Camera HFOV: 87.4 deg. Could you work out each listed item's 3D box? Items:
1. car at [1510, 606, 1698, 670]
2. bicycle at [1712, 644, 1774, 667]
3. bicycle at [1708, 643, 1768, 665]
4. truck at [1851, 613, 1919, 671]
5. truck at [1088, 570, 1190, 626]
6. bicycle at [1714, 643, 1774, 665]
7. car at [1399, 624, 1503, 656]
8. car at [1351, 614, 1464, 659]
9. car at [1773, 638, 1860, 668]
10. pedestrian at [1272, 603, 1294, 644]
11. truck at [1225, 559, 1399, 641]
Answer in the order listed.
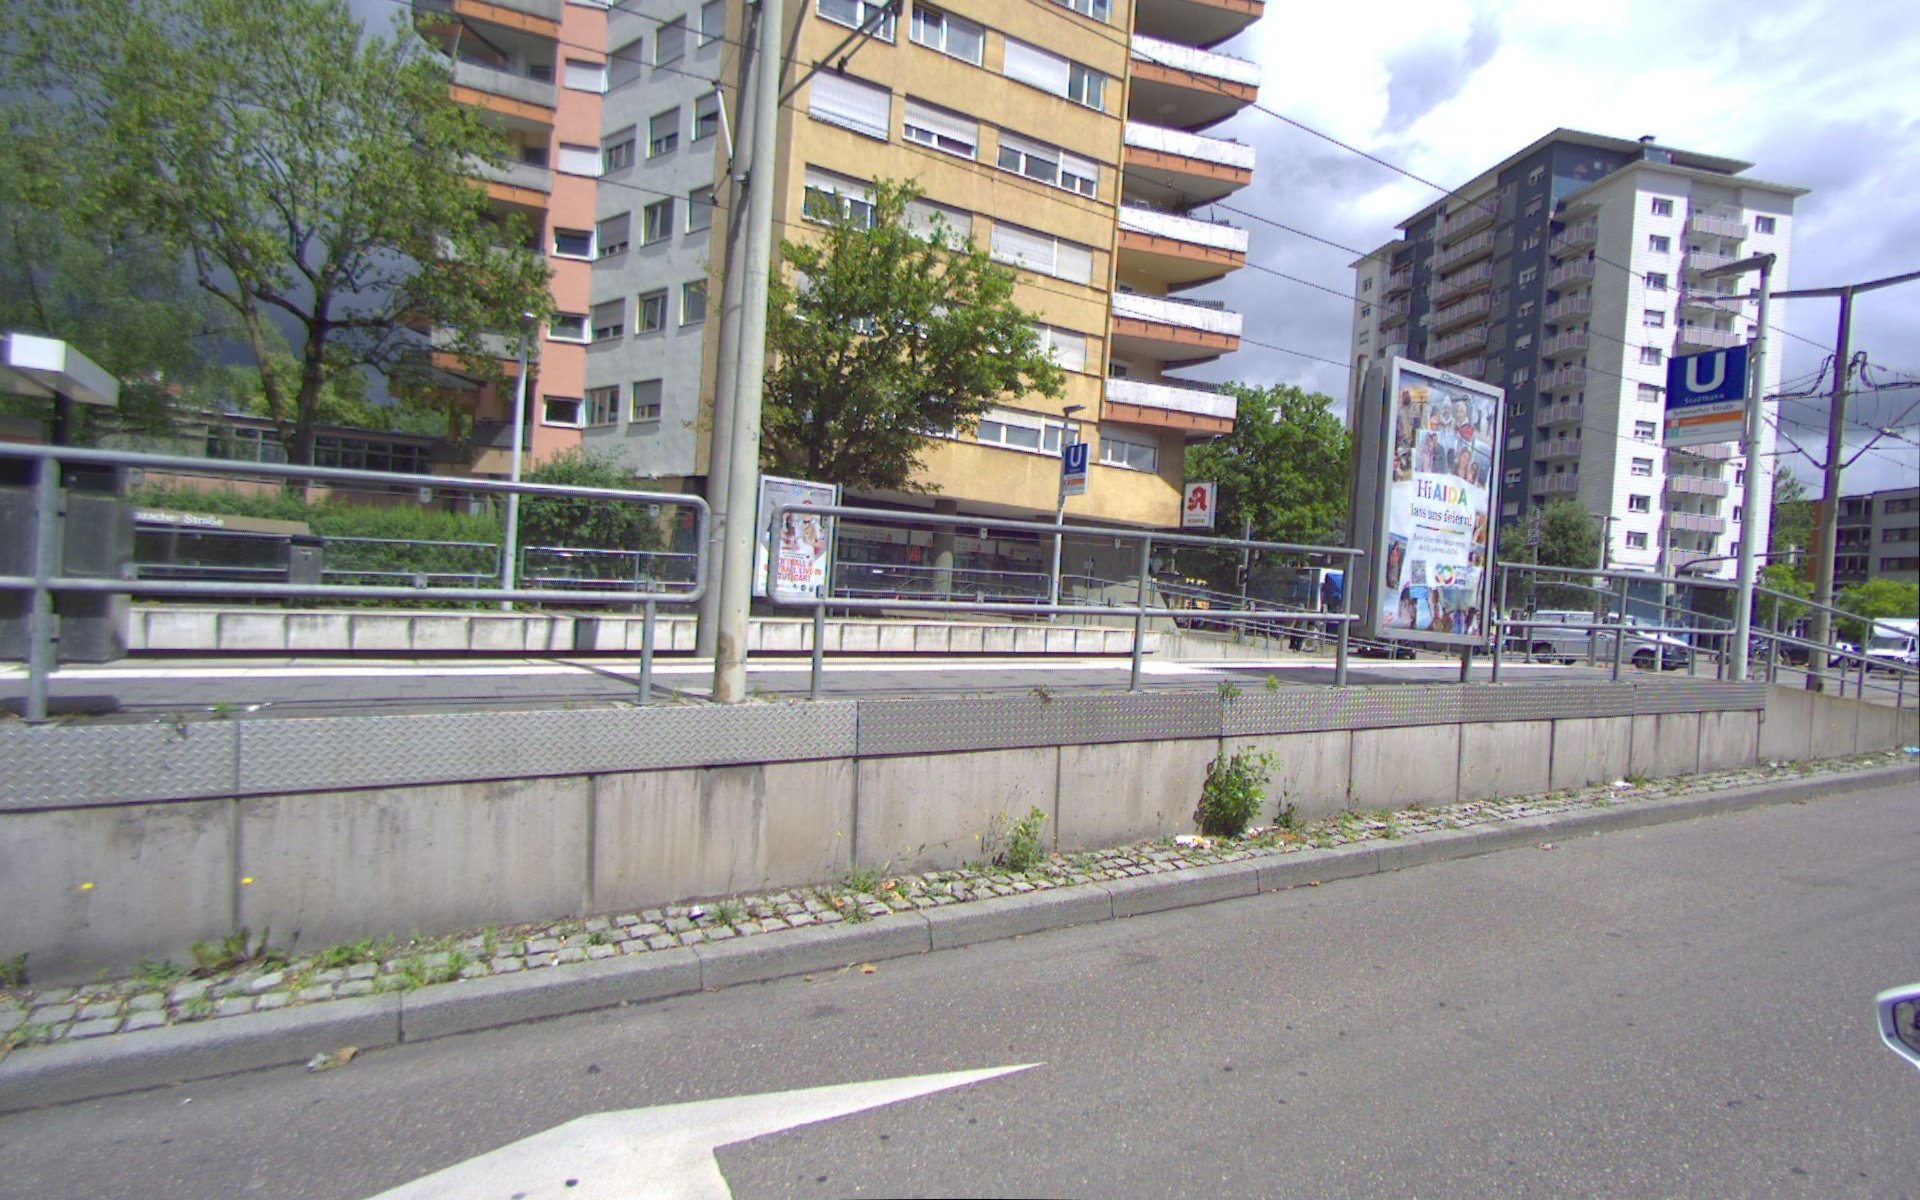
[{"bbox_3d":[22.288,1.272,34.984,1.980,1.918,5.135,2,0,-35],"label":"car"},{"bbox_3d":[42.188,2.985,54.178,2.521,1.022,0.754,4,0,33],"label":"bicycle"},{"bbox_3d":[42.559,2.956,54.984,2.521,1.022,0.754,4,0,33],"label":"bicycle"},{"bbox_3d":[54.350,2.441,58.247,7.244,3.159,2.267,2,0,-34],"label":"truck"},{"bbox_3d":[7.985,-0.111,45.242,2.323,2.320,4.260,2,0,-29],"label":"truck"},{"bbox_3d":[43.418,2.986,55.677,2.521,1.022,0.754,4,0,33],"label":"bicycle"},{"bbox_3d":[24.484,1.984,50.233,1.663,1.346,4.412,2,0,-36],"label":"car"},{"bbox_3d":[15.276,1.258,34.234,3.820,1.424,1.571,2,0,-30],"label":"car"},{"bbox_3d":[54.304,3.321,63.752,3.845,1.669,1.657,2,0,15],"label":"car"},{"bbox_3d":[11.751,0.860,36.498,0.541,1.459,0.497,2,0,-19],"label":"pedestrian"},{"bbox_3d":[15.745,-0.013,45.460,2.583,3.393,7.219,2,0,-35],"label":"truck"}]
